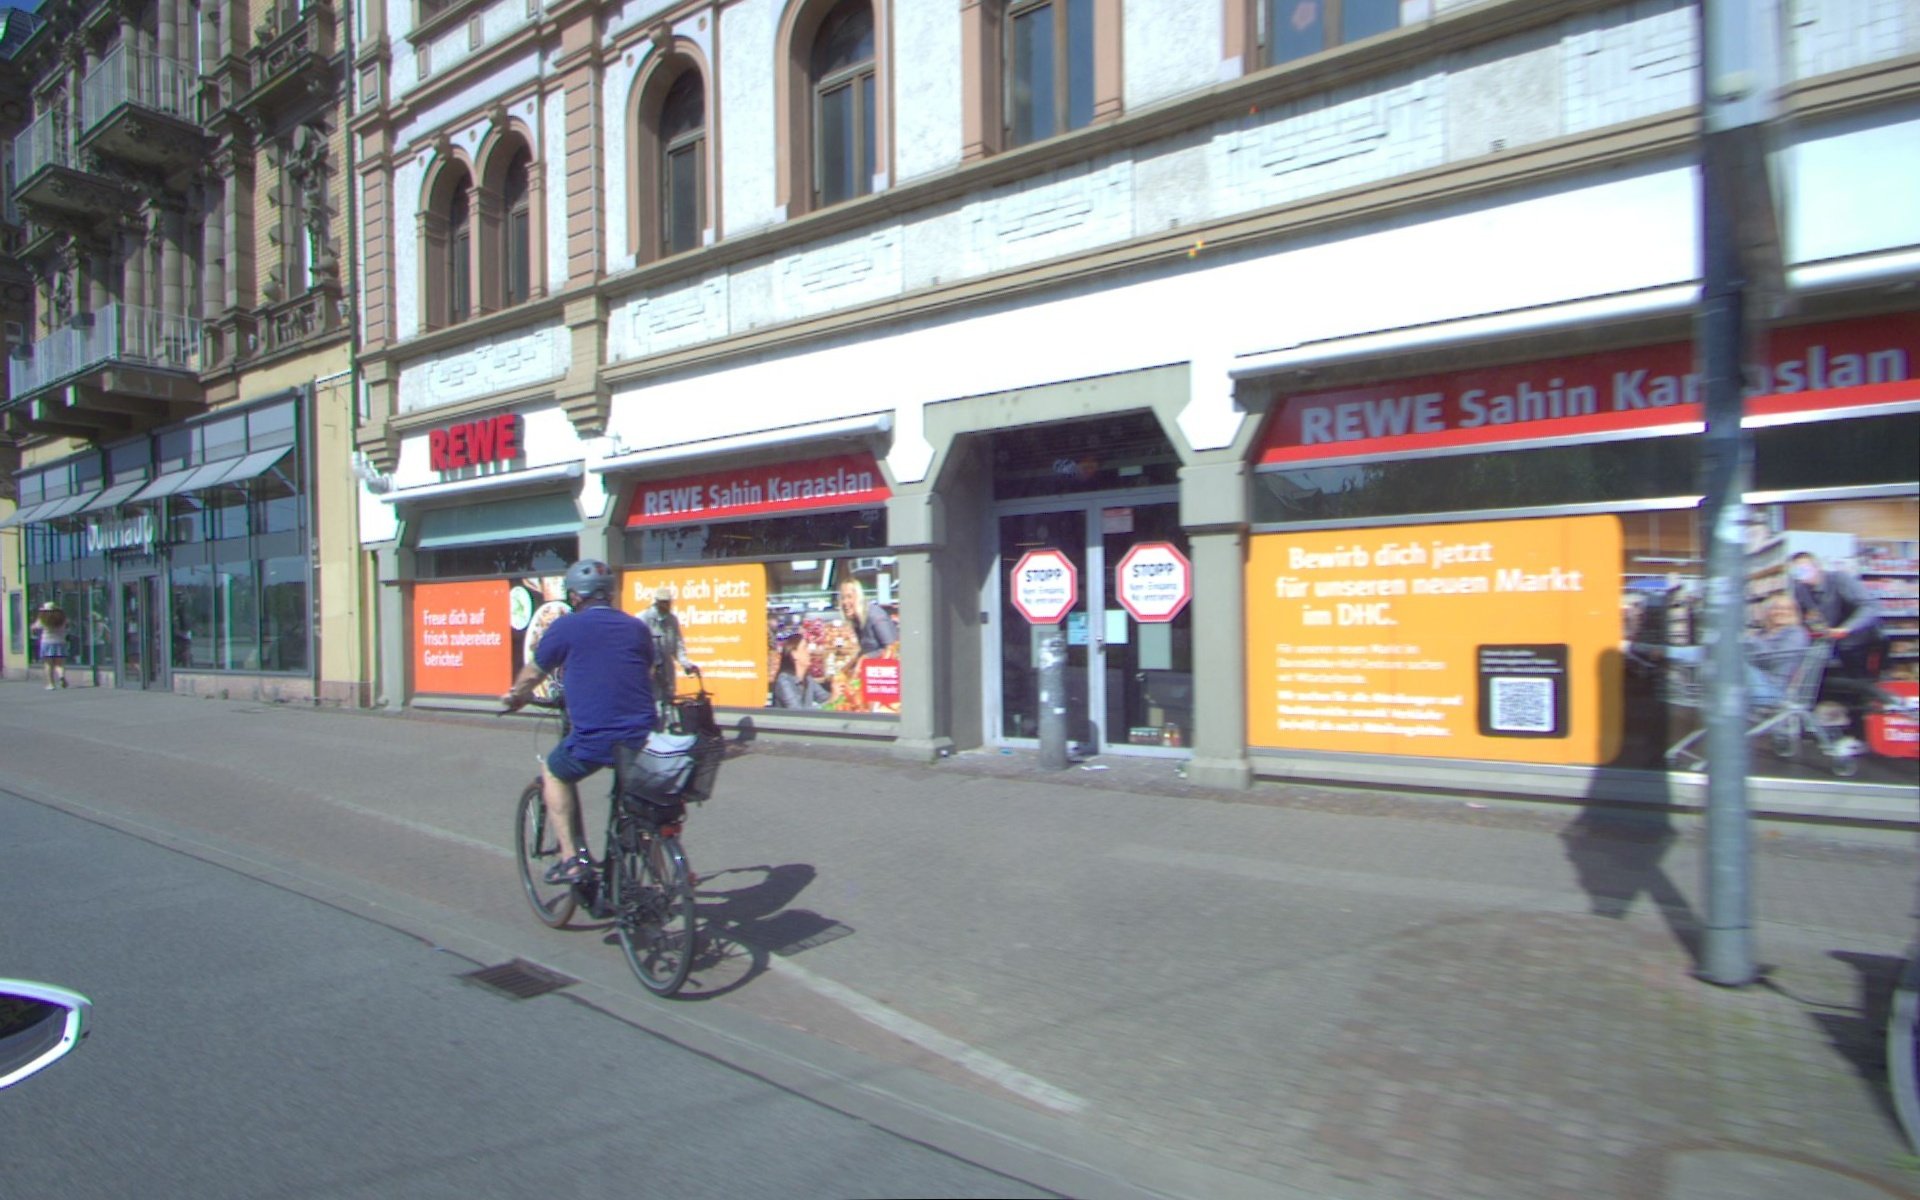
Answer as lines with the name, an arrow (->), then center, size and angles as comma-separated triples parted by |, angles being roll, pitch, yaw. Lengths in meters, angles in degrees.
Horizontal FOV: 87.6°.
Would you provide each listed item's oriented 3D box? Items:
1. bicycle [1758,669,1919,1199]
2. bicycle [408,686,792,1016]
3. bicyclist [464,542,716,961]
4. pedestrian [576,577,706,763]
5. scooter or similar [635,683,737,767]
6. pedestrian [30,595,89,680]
bicycle -> 2.731, 0.850, 2.824 | 0.600, 1.194, 1.689 | 0, 0, 34
bicycle -> -1.664, 0.977, 4.479 | 1.888, 1.106, 0.731 | -2, -3, 39
bicyclist -> -1.658, 0.614, 4.486 | 0.907, 1.636, 0.685 | -1, -2, 40
pedestrian -> -3.061, 0.646, 9.637 | 0.825, 1.678, 0.753 | -2, 3, 33
scooter or similar -> -2.544, 1.146, 9.334 | 0.557, 0.659, 0.689 | -1, 3, 33
pedestrian -> -17.929, 0.733, 19.934 | 0.803, 1.642, 0.653 | 0, 1, 32
